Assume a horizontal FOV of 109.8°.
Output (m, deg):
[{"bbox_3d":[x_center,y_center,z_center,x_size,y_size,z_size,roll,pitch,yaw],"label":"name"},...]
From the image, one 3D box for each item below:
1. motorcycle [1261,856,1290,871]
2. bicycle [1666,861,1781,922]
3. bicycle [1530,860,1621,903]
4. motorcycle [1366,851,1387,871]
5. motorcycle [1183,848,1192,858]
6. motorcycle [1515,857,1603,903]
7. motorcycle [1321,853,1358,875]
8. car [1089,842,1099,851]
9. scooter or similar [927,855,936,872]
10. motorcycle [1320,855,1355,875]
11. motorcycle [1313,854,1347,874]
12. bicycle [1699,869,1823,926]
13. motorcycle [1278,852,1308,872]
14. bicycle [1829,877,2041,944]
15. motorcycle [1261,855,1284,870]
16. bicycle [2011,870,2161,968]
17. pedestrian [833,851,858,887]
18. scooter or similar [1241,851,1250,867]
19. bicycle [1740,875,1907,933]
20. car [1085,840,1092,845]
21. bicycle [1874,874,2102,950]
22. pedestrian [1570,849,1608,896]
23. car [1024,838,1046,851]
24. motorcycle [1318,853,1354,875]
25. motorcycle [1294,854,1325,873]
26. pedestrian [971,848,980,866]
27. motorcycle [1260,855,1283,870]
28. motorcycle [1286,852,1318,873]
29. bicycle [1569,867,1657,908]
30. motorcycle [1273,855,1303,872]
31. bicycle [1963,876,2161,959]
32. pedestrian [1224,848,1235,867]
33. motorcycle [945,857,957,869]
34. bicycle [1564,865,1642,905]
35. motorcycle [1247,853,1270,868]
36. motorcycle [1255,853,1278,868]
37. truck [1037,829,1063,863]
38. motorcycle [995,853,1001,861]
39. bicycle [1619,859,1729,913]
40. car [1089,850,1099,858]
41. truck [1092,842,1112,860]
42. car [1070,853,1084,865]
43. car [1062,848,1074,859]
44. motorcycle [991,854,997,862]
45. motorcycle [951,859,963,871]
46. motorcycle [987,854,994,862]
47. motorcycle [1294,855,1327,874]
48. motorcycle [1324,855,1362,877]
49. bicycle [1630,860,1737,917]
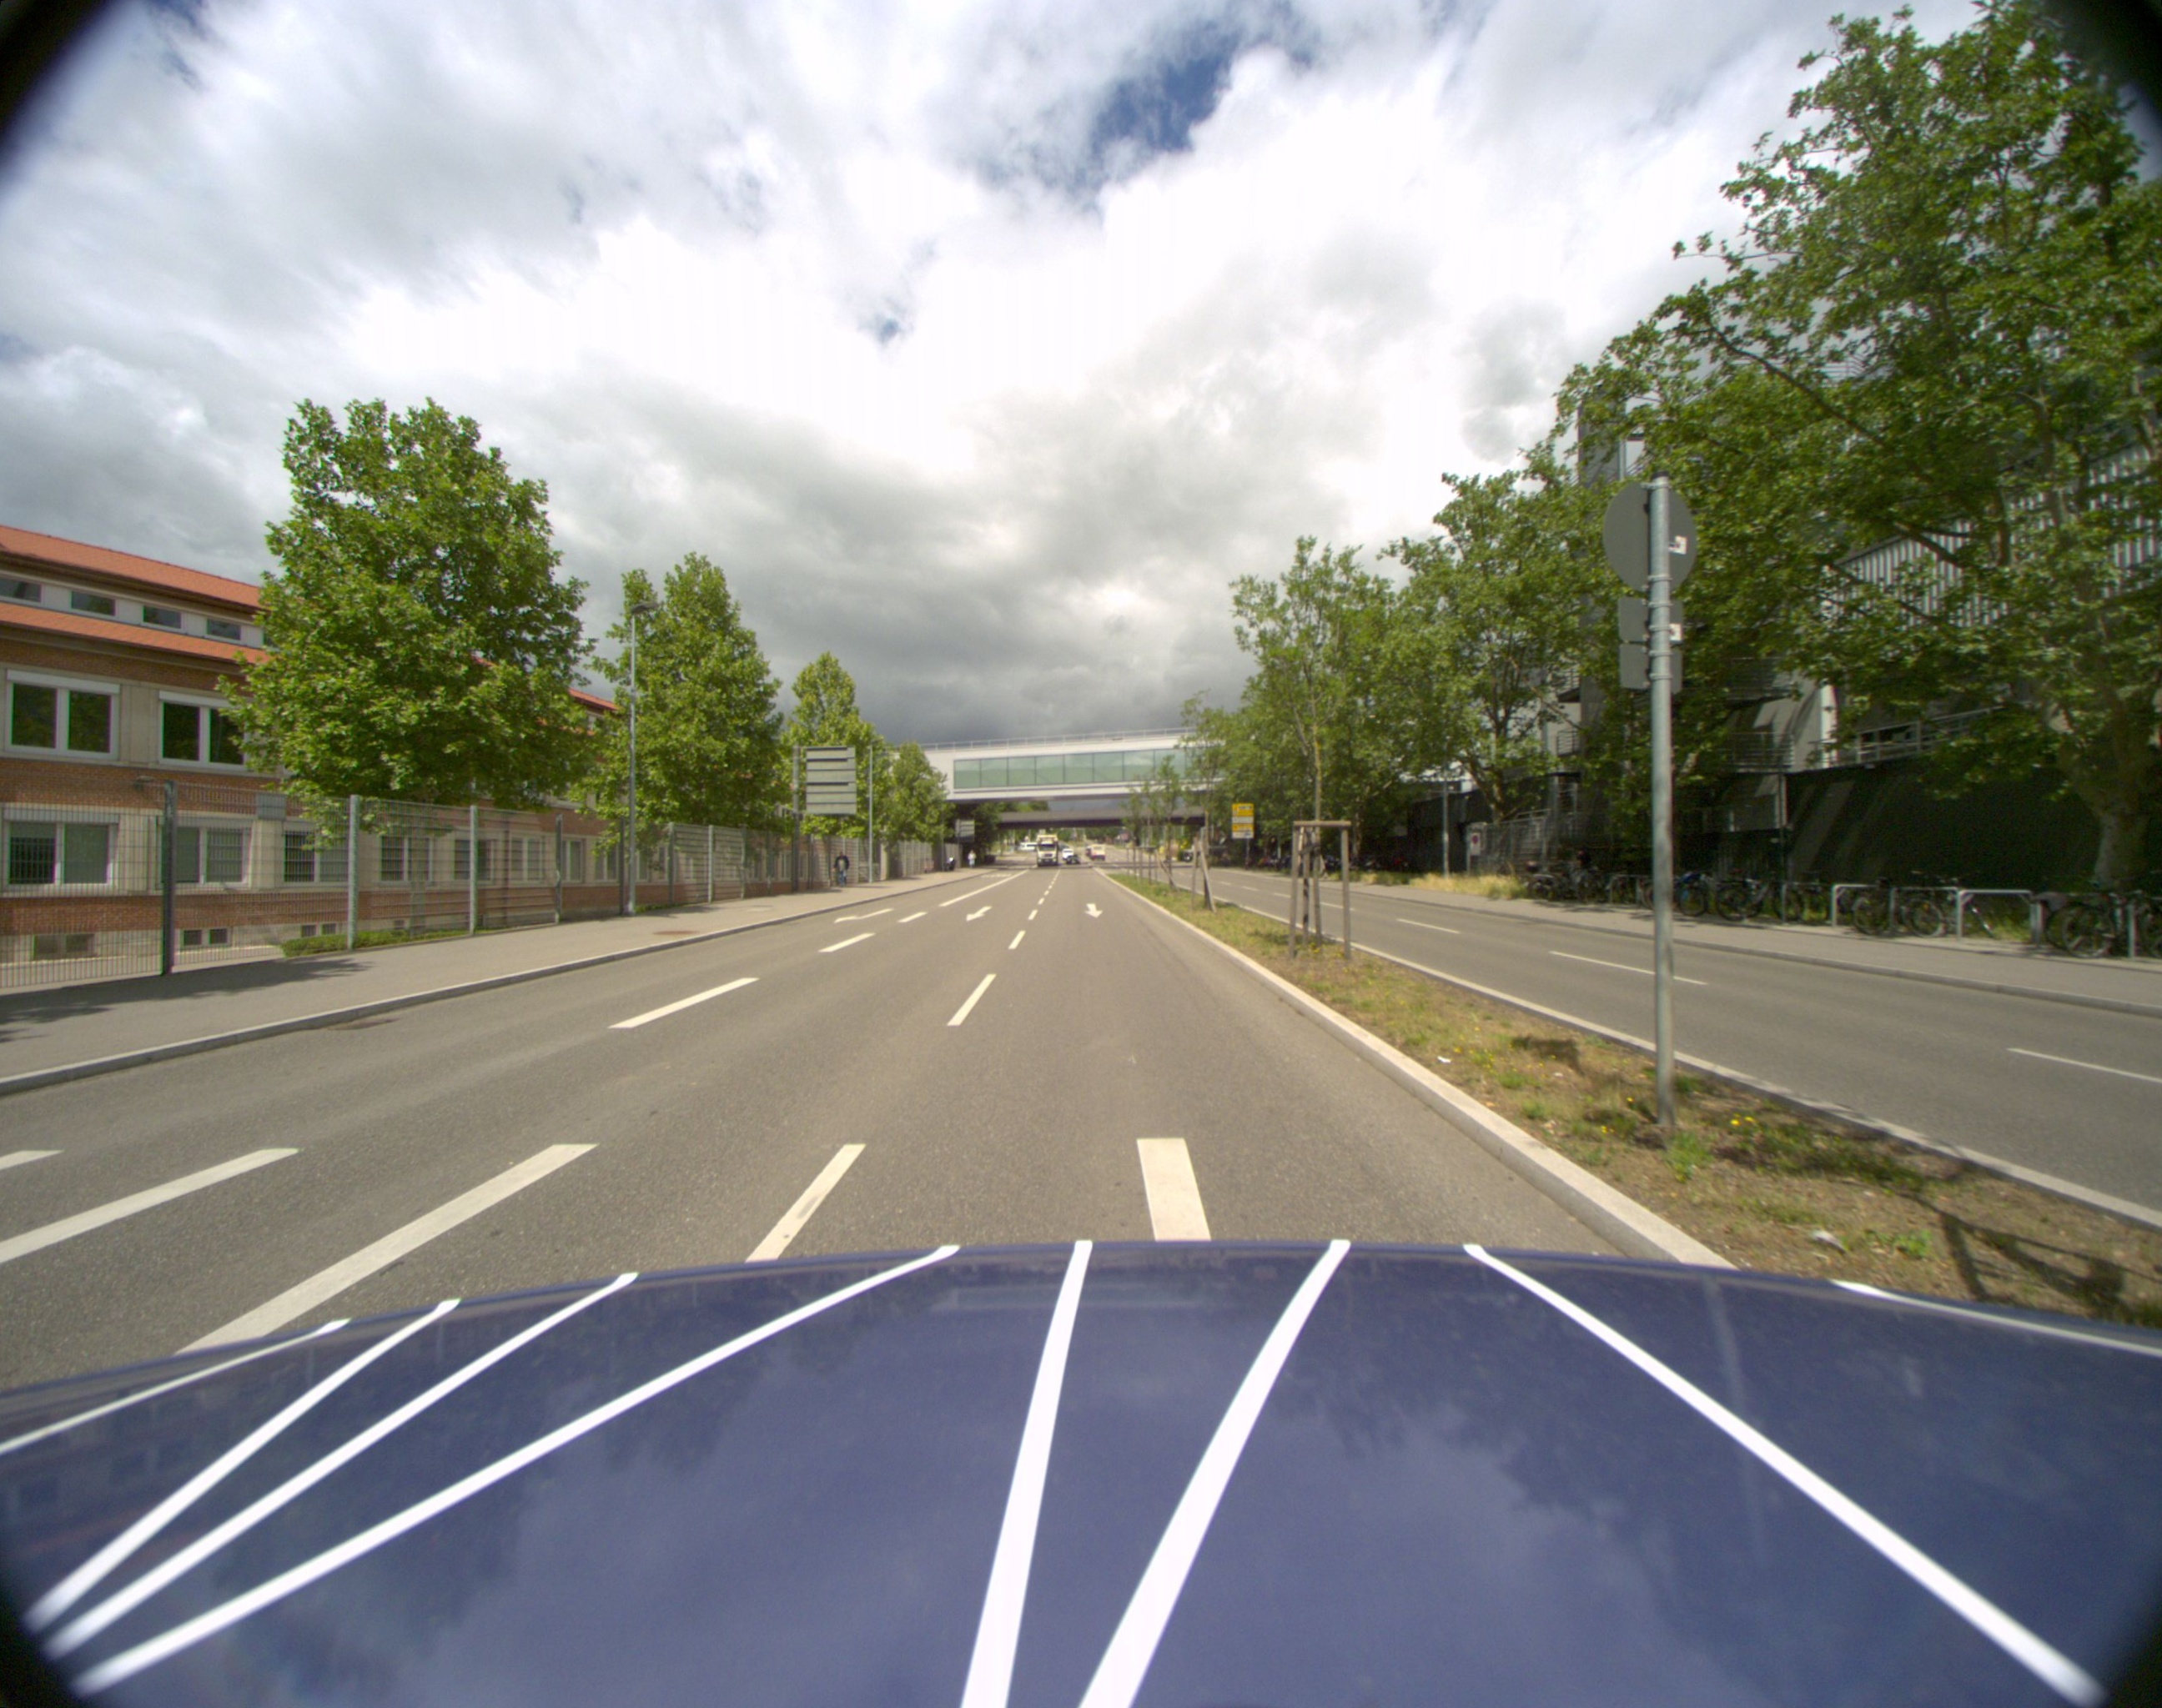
[{"bbox_3d":[14.700,0.727,57.457,1.939,1.109,0.920,1,1,-12],"label":"motorcycle"},{"bbox_3d":[14.388,0.829,17.044,1.923,1.275,0.806,-1,1,-2],"label":"bicycle"},{"bbox_3d":[14.451,0.794,22.232,2.139,1.173,0.806,-1,1,-2],"label":"bicycle"},{"bbox_3d":[18.810,0.446,48.364,0.654,1.202,1.984,-3,-1,4],"label":"motorcycle"},{"bbox_3d":[12.824,-0.104,91.750,0.641,1.191,2.257,-3,1,-1],"label":"motorcycle"},{"bbox_3d":[14.274,0.762,22.724,2.139,1.301,0.806,-1,1,-2],"label":"motorcycle"},{"bbox_3d":[15.106,0.603,44.372,1.881,1.179,0.730,-3,0,8],"label":"motorcycle"},{"bbox_3d":[2.697,-1.546,160.127,1.813,1.770,4.977,-1,1,-1],"label":"car"},{"bbox_3d":[-12.173,0.760,61.781,0.492,1.287,1.336,0,1,-1],"label":"scooter or similar"},{"bbox_3d":[15.383,0.660,45.665,1.880,1.078,0.795,-3,-1,15],"label":"motorcycle"},{"bbox_3d":[15.668,0.633,47.890,1.882,1.172,0.698,-3,-1,3],"label":"motorcycle"},{"bbox_3d":[14.332,0.897,16.055,1.923,1.116,0.806,-1,1,-2],"label":"bicycle"},{"bbox_3d":[15.133,0.579,54.120,1.934,1.283,0.894,-3,-1,20],"label":"motorcycle"},{"bbox_3d":[14.756,0.959,13.200,2.569,1.089,0.696,0,1,10],"label":"bicycle"},{"bbox_3d":[14.994,0.668,59.618,1.595,1.027,0.776,-3,-1,1],"label":"motorcycle"},{"bbox_3d":[14.335,0.876,10.425,2.410,1.250,0.556,-1,1,2],"label":"bicycle"},{"bbox_3d":[-11.491,0.713,37.109,0.879,1.733,0.940,1,1,-1],"label":"pedestrian"},{"bbox_3d":[13.140,0.408,60.625,0.355,1.229,1.479,-2,2,-1],"label":"scooter or similar"},{"bbox_3d":[14.798,0.981,15.170,2.844,1.000,0.850,-1,1,-9],"label":"bicycle"},{"bbox_3d":[2.042,-3.126,207.121,1.998,1.346,4.000,0,1,1],"label":"car"},{"bbox_3d":[14.676,0.938,12.361,2.569,1.151,0.644,-1,1,10],"label":"bicycle"},{"bbox_3d":[17.060,0.612,25.535,0.755,1.543,0.821,-1,1,10],"label":"pedestrian"},{"bbox_3d":[-11.804,-2.448,196.095,5.199,3.019,2.081,-1,1,12],"label":"car"},{"bbox_3d":[15.660,0.614,46.689,1.882,1.202,0.655,-3,-1,3],"label":"motorcycle"},{"bbox_3d":[15.137,0.634,50.422,1.880,1.172,0.816,-3,-1,15],"label":"motorcycle"},{"bbox_3d":[-11.179,0.279,80.475,0.791,1.877,1.097,0,1,-1],"label":"pedestrian"},{"bbox_3d":[15.272,0.661,60.991,1.595,1.116,0.776,-3,-1,1],"label":"motorcycle"},{"bbox_3d":[15.115,0.590,51.940,1.934,1.336,0.866,-3,-1,20],"label":"motorcycle"},{"bbox_3d":[14.705,0.912,21.018,2.086,1.056,0.497,-1,1,-2],"label":"bicycle"},{"bbox_3d":[15.177,0.690,55.766,1.933,1.109,0.923,-3,-1,27],"label":"motorcycle"},{"bbox_3d":[15.005,0.938,11.305,2.569,1.151,0.726,-1,1,10],"label":"bicycle"},{"bbox_3d":[13.147,0.309,67.376,0.769,1.603,0.813,-3,1,-1],"label":"pedestrian"},{"bbox_3d":[-11.800,0.812,68.980,0.670,1.058,2.246,2,1,-1],"label":"motorcycle"},{"bbox_3d":[14.757,0.876,21.487,1.929,1.068,0.422,-1,1,-2],"label":"bicycle"},{"bbox_3d":[15.026,0.524,64.403,1.745,1.164,0.777,-3,-1,8],"label":"motorcycle"},{"bbox_3d":[15.236,0.528,62.324,1.596,1.116,0.775,-3,-1,-9],"label":"motorcycle"},{"bbox_3d":[-3.775,-0.972,94.269,2.787,3.981,10.085,-1,0,-1],"label":"truck"},{"bbox_3d":[-11.744,0.451,108.064,0.679,1.076,2.180,0,1,-2],"label":"motorcycle"},{"bbox_3d":[14.918,0.800,19.146,2.139,1.275,0.806,-1,1,-2],"label":"bicycle"},{"bbox_3d":[2.508,0.005,148.469,1.713,1.445,4.479,-1,0,0],"label":"car"},{"bbox_3d":[3.241,-0.530,118.973,2.486,2.735,6.456,-1,0,-3],"label":"truck"},{"bbox_3d":[-0.530,0.617,97.129,1.675,1.390,3.999,-1,0,-1],"label":"car"},{"bbox_3d":[-2.133,-0.019,123.270,1.929,1.728,3.999,-1,0,-1],"label":"car"},{"bbox_3d":[-12.050,0.509,105.351,0.679,1.076,2.037,0,1,-2],"label":"motorcycle"},{"bbox_3d":[-11.750,1.001,72.114,0.709,1.058,2.510,2,1,-1],"label":"motorcycle"},{"bbox_3d":[-12.175,0.534,101.982,0.679,1.148,2.112,0,1,0],"label":"motorcycle"},{"bbox_3d":[14.859,0.684,49.210,1.881,1.172,0.815,-3,-1,9],"label":"motorcycle"},{"bbox_3d":[14.600,0.663,42.377,1.881,1.166,0.746,-3,-1,9],"label":"motorcycle"},{"bbox_3d":[14.351,0.812,18.118,1.923,1.275,0.806,-1,1,-2],"label":"bicycle"}]
